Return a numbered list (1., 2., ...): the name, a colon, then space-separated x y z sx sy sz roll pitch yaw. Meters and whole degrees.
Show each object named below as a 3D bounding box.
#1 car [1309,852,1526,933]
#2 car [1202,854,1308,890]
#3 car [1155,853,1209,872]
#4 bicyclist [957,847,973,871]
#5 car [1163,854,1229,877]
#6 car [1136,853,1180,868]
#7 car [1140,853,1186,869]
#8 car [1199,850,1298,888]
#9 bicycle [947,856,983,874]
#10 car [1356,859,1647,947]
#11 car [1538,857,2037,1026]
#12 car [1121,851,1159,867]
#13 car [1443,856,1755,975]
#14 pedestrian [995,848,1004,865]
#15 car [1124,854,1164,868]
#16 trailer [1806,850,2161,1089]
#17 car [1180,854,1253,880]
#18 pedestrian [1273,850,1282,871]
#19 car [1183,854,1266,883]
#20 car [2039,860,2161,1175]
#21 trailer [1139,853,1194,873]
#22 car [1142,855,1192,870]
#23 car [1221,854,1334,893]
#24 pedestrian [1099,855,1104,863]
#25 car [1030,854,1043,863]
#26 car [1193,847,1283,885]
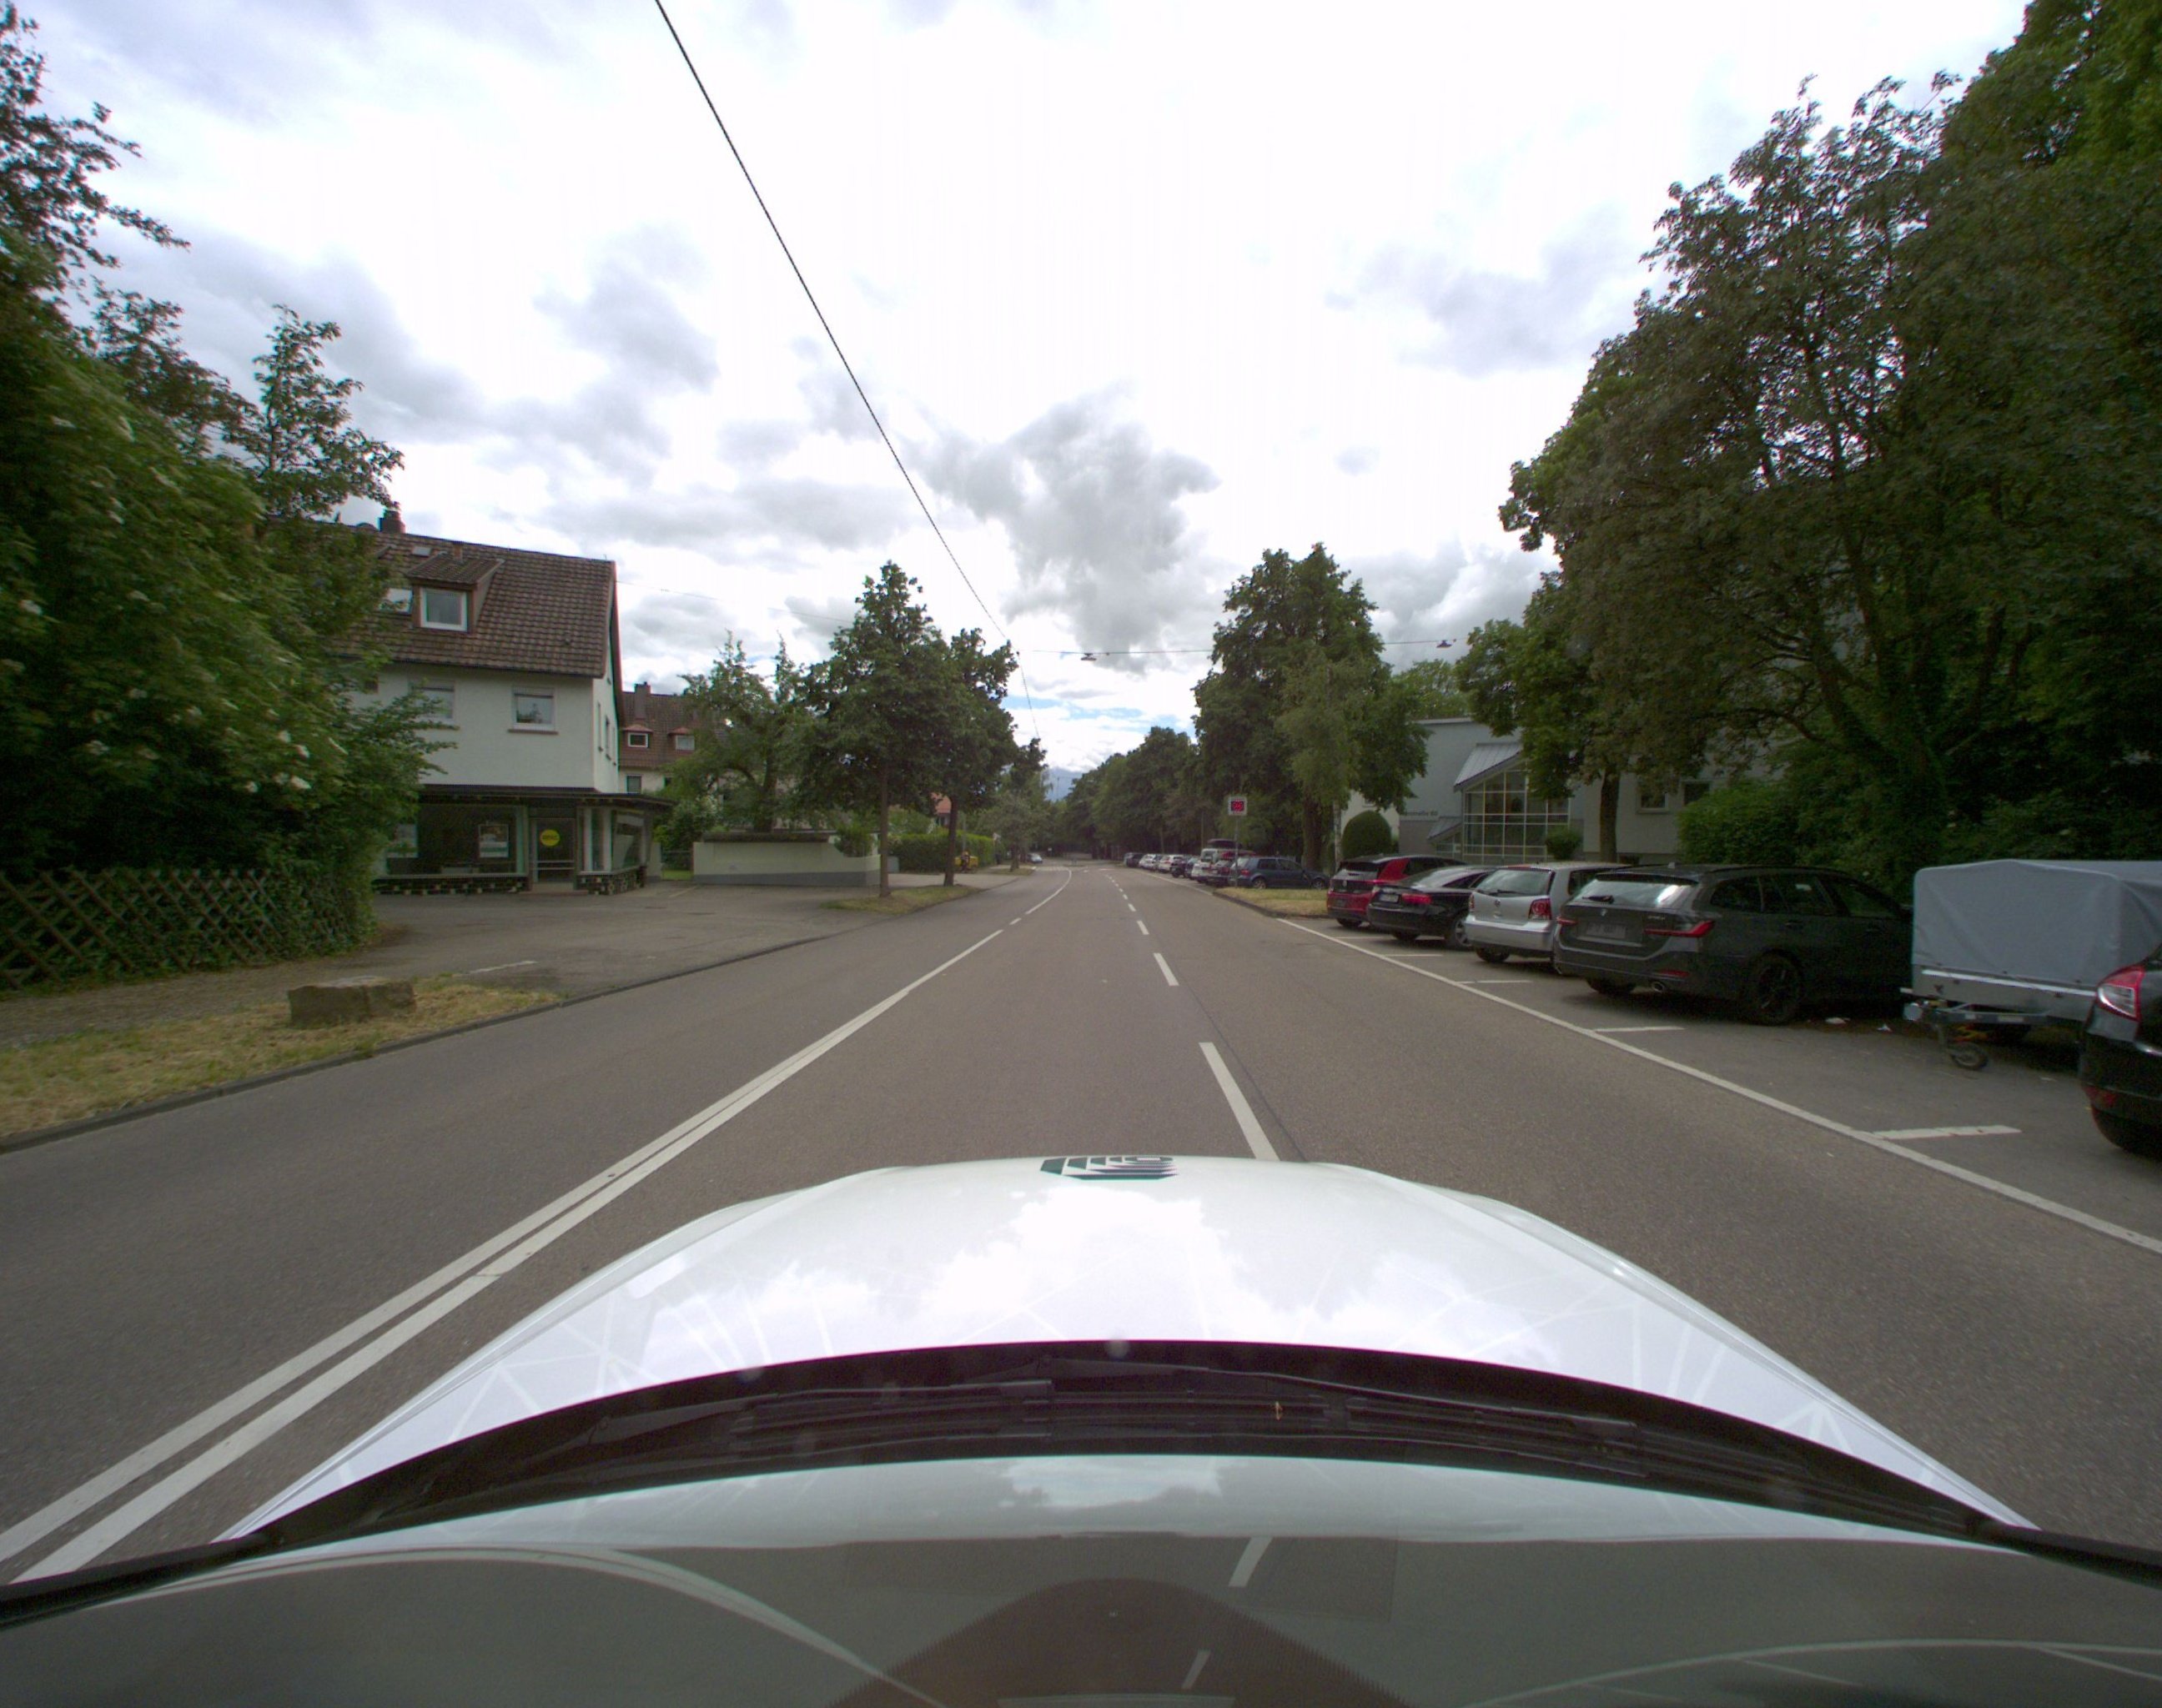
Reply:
1. car: 6.923 0.719 16.767 4.086 1.515 1.722 0 0 -21
2. car: 7.296 0.756 34.281 4.036 1.405 1.747 1 0 -17
3. car: 8.054 0.674 64.881 3.897 1.449 1.732 1 0 -20
4. bicyclist: -8.435 0.347 59.174 0.837 1.697 0.718 1 1 43
5. car: 7.589 0.761 53.680 3.900 1.449 1.831 1 0 -22
6. car: 7.405 0.631 78.124 3.895 1.429 1.733 1 0 -18
7. car: 7.619 0.685 75.544 3.895 1.429 1.733 1 0 -18
8. car: 7.624 0.667 37.247 4.003 1.620 1.875 1 0 -15
9. bicycle: -8.413 0.792 59.199 0.837 1.266 2.667 1 1 44
10. car: 7.085 0.794 13.859 4.316 1.341 1.726 1 0 -12
11. car: 7.152 0.793 8.351 4.348 1.445 1.627 1 0 -13
12. car: 6.595 0.537 90.931 3.895 1.668 1.733 1 0 -18
13. car: 7.114 0.790 11.294 3.615 1.445 1.626 1 0 -14
14. pedestrian: -8.588 0.269 85.854 0.972 1.730 0.848 0 0 -3
15. car: 6.812 0.746 88.137 3.895 1.429 1.733 1 0 -18
16. trailer: 7.467 0.773 6.253 2.988 1.542 1.298 1 1 -12
17. car: 8.081 0.787 48.732 3.895 1.449 1.833 1 0 -19
18. pedestrian: 15.060 0.530 62.426 0.646 1.603 0.745 0 -1 7
19. car: 7.728 0.776 43.851 3.972 1.449 1.909 1 0 -14
20. car: 6.966 0.787 3.713 3.839 1.455 1.629 1 0 -9
21. trailer: 7.019 0.713 67.075 4.165 1.573 1.702 1 -1 -18
22. car: 7.358 0.729 69.759 3.901 1.309 1.730 1 0 -23
23. car: 7.657 0.770 31.838 3.969 1.405 1.749 1 0 -13
24. pedestrian: 3.735 0.905 145.848 0.736 1.570 0.654 0 -1 12
25. car: -7.155 0.748 130.377 1.864 1.471 3.993 0 0 -5
26. car: 7.743 0.584 40.174 4.106 1.754 1.772 1 0 -25
